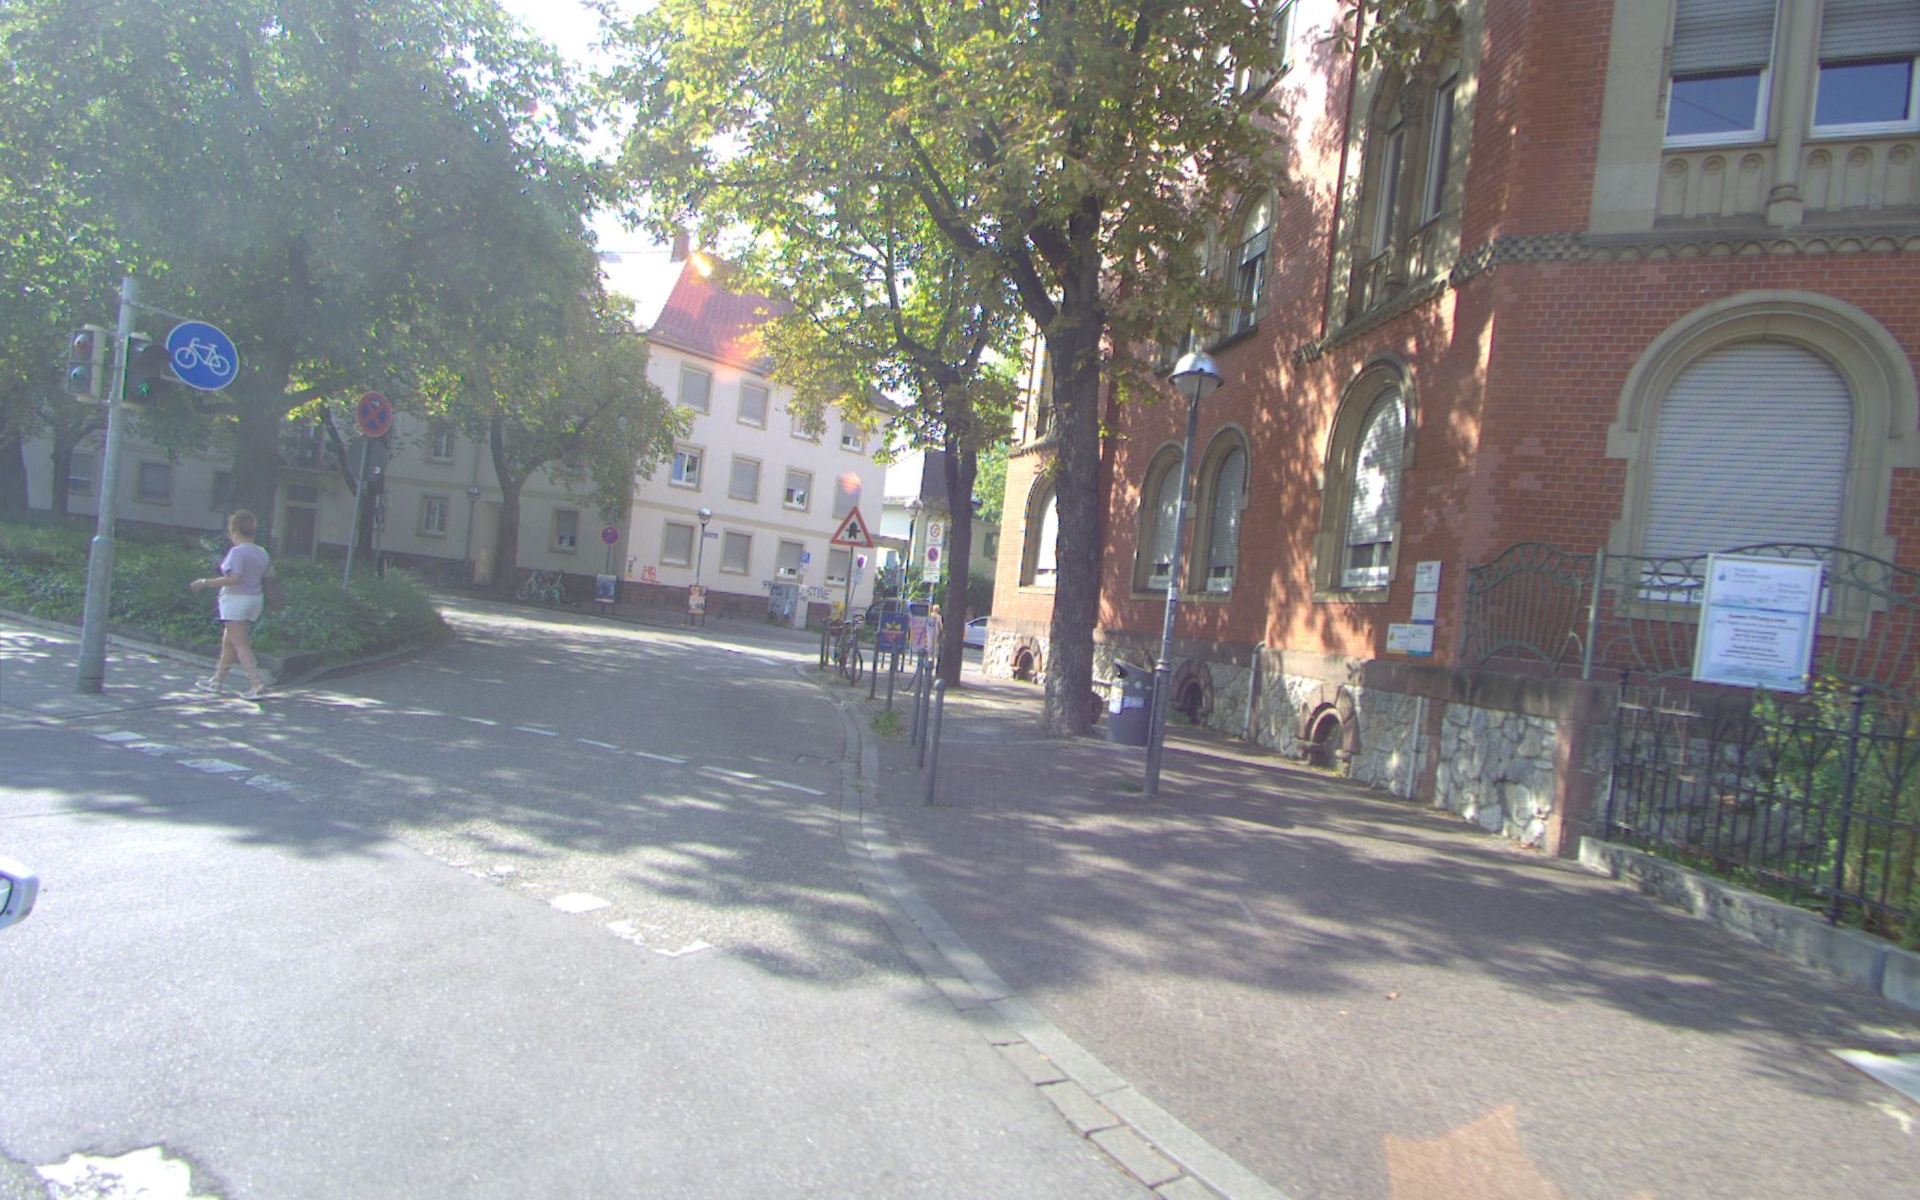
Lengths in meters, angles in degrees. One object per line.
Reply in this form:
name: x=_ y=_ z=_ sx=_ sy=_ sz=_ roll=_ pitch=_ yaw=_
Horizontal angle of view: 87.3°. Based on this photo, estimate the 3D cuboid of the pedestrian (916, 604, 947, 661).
pedestrian: x=-0.934 y=1.060 z=32.937 sx=0.761 sy=1.762 sz=0.894 roll=6 pitch=0 yaw=2

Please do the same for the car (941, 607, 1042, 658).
car: x=1.287 y=1.342 z=42.013 sx=3.941 sy=1.632 sz=1.591 roll=6 pitch=0 yaw=38

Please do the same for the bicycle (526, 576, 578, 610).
bicycle: x=-13.836 y=-0.220 z=34.121 sx=0.419 sy=0.990 sz=1.549 roll=7 pitch=0 yaw=39

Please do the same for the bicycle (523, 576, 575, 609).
bicycle: x=-14.034 y=-0.251 z=34.395 sx=0.419 sy=0.990 sz=1.549 roll=7 pitch=0 yaw=39

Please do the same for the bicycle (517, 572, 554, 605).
bicycle: x=-14.980 y=-0.394 z=35.556 sx=0.418 sy=1.051 sz=1.556 roll=6 pitch=0 yaw=6

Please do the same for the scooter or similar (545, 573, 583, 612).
scooter or similar: x=-13.348 y=-0.258 z=33.928 sx=1.061 sy=1.213 sz=0.455 roll=3 pitch=3 yaw=-34

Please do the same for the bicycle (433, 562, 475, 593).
bicycle: x=-18.985 y=-0.830 z=37.742 sx=1.527 sy=0.990 sz=0.425 roll=7 pitch=1 yaw=22

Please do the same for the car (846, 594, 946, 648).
car: x=-2.497 y=0.765 z=38.508 sx=1.586 sy=1.632 sz=3.953 roll=7 pitch=0 yaw=-42

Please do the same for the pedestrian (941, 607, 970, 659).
pedestrian: x=-0.145 y=1.058 z=32.317 sx=0.762 sy=1.586 sz=0.894 roll=6 pitch=0 yaw=0

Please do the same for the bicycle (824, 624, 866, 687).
bicycle: x=-2.114 y=0.988 z=18.371 sx=0.419 sy=0.990 sz=1.765 roll=6 pitch=0 yaw=-14

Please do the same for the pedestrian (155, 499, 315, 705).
pedestrian: x=-6.650 y=0.023 z=9.258 sx=0.757 sy=1.752 sz=0.752 roll=6 pitch=0 yaw=16

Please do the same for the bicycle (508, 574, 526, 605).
bicycle: x=-15.271 y=-0.377 z=34.663 sx=0.421 sy=0.990 sz=1.545 roll=6 pitch=0 yaw=-27

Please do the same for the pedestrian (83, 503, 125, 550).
pedestrian: x=-34.725 y=-2.965 z=40.824 sx=0.878 sy=1.762 sz=0.775 roll=6 pitch=0 yaw=-4
